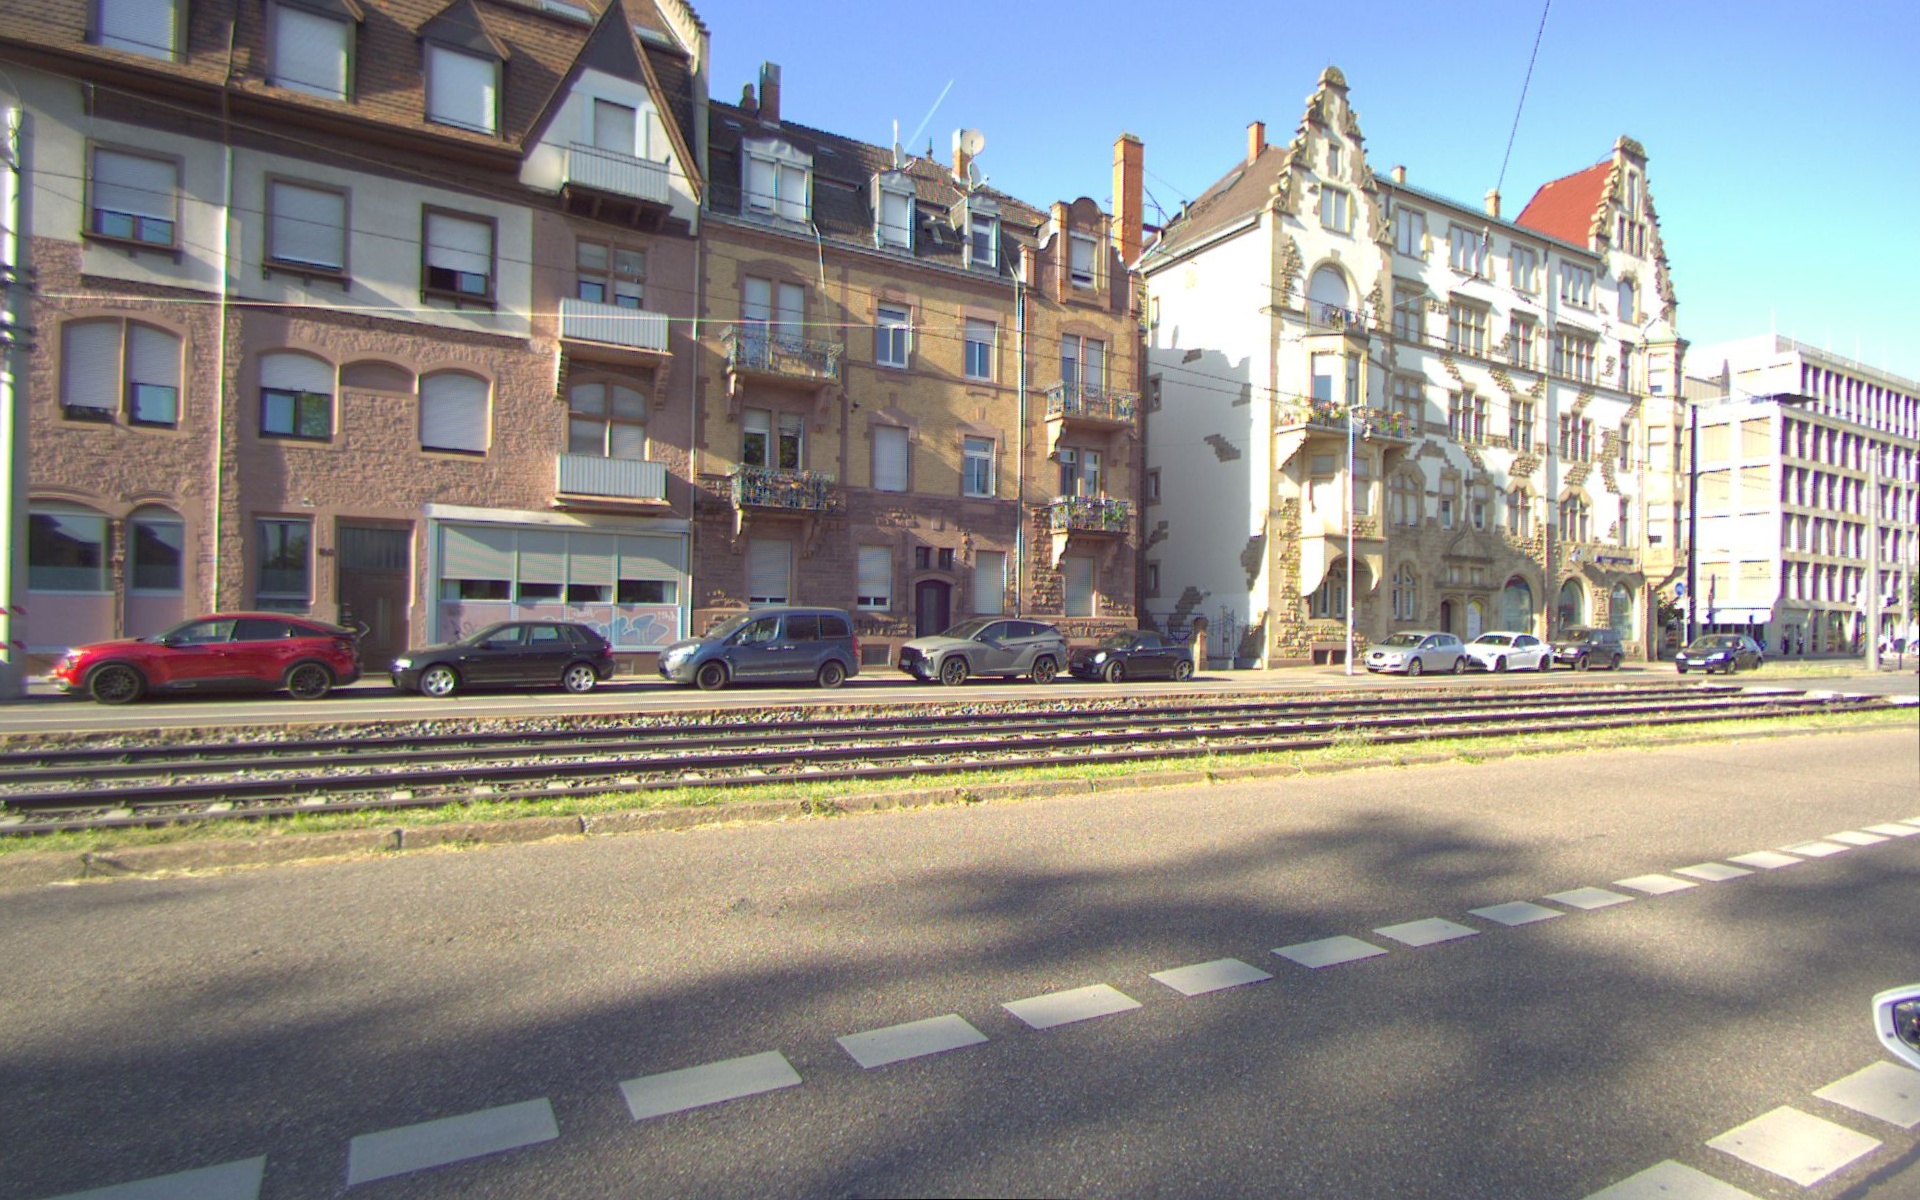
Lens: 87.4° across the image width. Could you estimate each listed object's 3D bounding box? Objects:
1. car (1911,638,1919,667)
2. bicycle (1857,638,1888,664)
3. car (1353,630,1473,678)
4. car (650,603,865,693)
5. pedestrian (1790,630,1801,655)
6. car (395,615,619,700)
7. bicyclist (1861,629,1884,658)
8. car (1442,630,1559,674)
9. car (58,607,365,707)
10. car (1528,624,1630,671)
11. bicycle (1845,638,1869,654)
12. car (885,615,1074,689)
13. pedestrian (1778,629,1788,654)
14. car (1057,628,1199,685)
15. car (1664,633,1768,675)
[{"bbox_3d":[51.279,2.709,51.993,4.487,1.476,1.811,2,-2,-31],"label":"car"},{"bbox_3d":[50.155,2.816,55.194,1.923,1.400,0.682,1,-2,-29],"label":"bicycle"},{"bbox_3d":[15.430,1.793,34.164,4.177,1.450,1.700,1,1,-32],"label":"car"},{"bbox_3d":[-4.523,1.037,22.479,4.361,1.782,1.878,1,2,-28],"label":"car"},{"bbox_3d":[62.938,3.167,75.651,0.522,1.868,0.443,0,-2,23],"label":"pedestrian"},{"bbox_3d":[-8.949,1.096,19.893,3.882,1.457,1.686,1,2,-31],"label":"car"},{"bbox_3d":[50.130,2.406,55.187,0.775,1.583,0.682,1,-2,-28],"label":"bicyclist"},{"bbox_3d":[20.026,1.894,37.179,4.603,1.442,1.708,1,1,-32],"label":"car"},{"bbox_3d":[-13.023,0.951,17.859,4.162,1.519,1.846,1,2,-31],"label":"car"},{"bbox_3d":[24.587,1.872,39.878,4.169,1.698,1.708,1,1,-31],"label":"car"},{"bbox_3d":[67.414,3.462,75.510,2.359,1.231,0.573,1,-2,-28],"label":"bicycle"},{"bbox_3d":[0.527,1.269,25.440,4.451,1.644,1.846,1,2,-31],"label":"car"},{"bbox_3d":[62.394,3.120,76.122,0.464,1.868,0.443,0,-1,23],"label":"pedestrian"},{"bbox_3d":[4.662,1.530,27.803,3.683,1.373,1.614,1,2,-31],"label":"car"},{"bbox_3d":[28.286,1.986,37.566,4.120,1.476,1.810,2,-2,-33],"label":"car"}]
